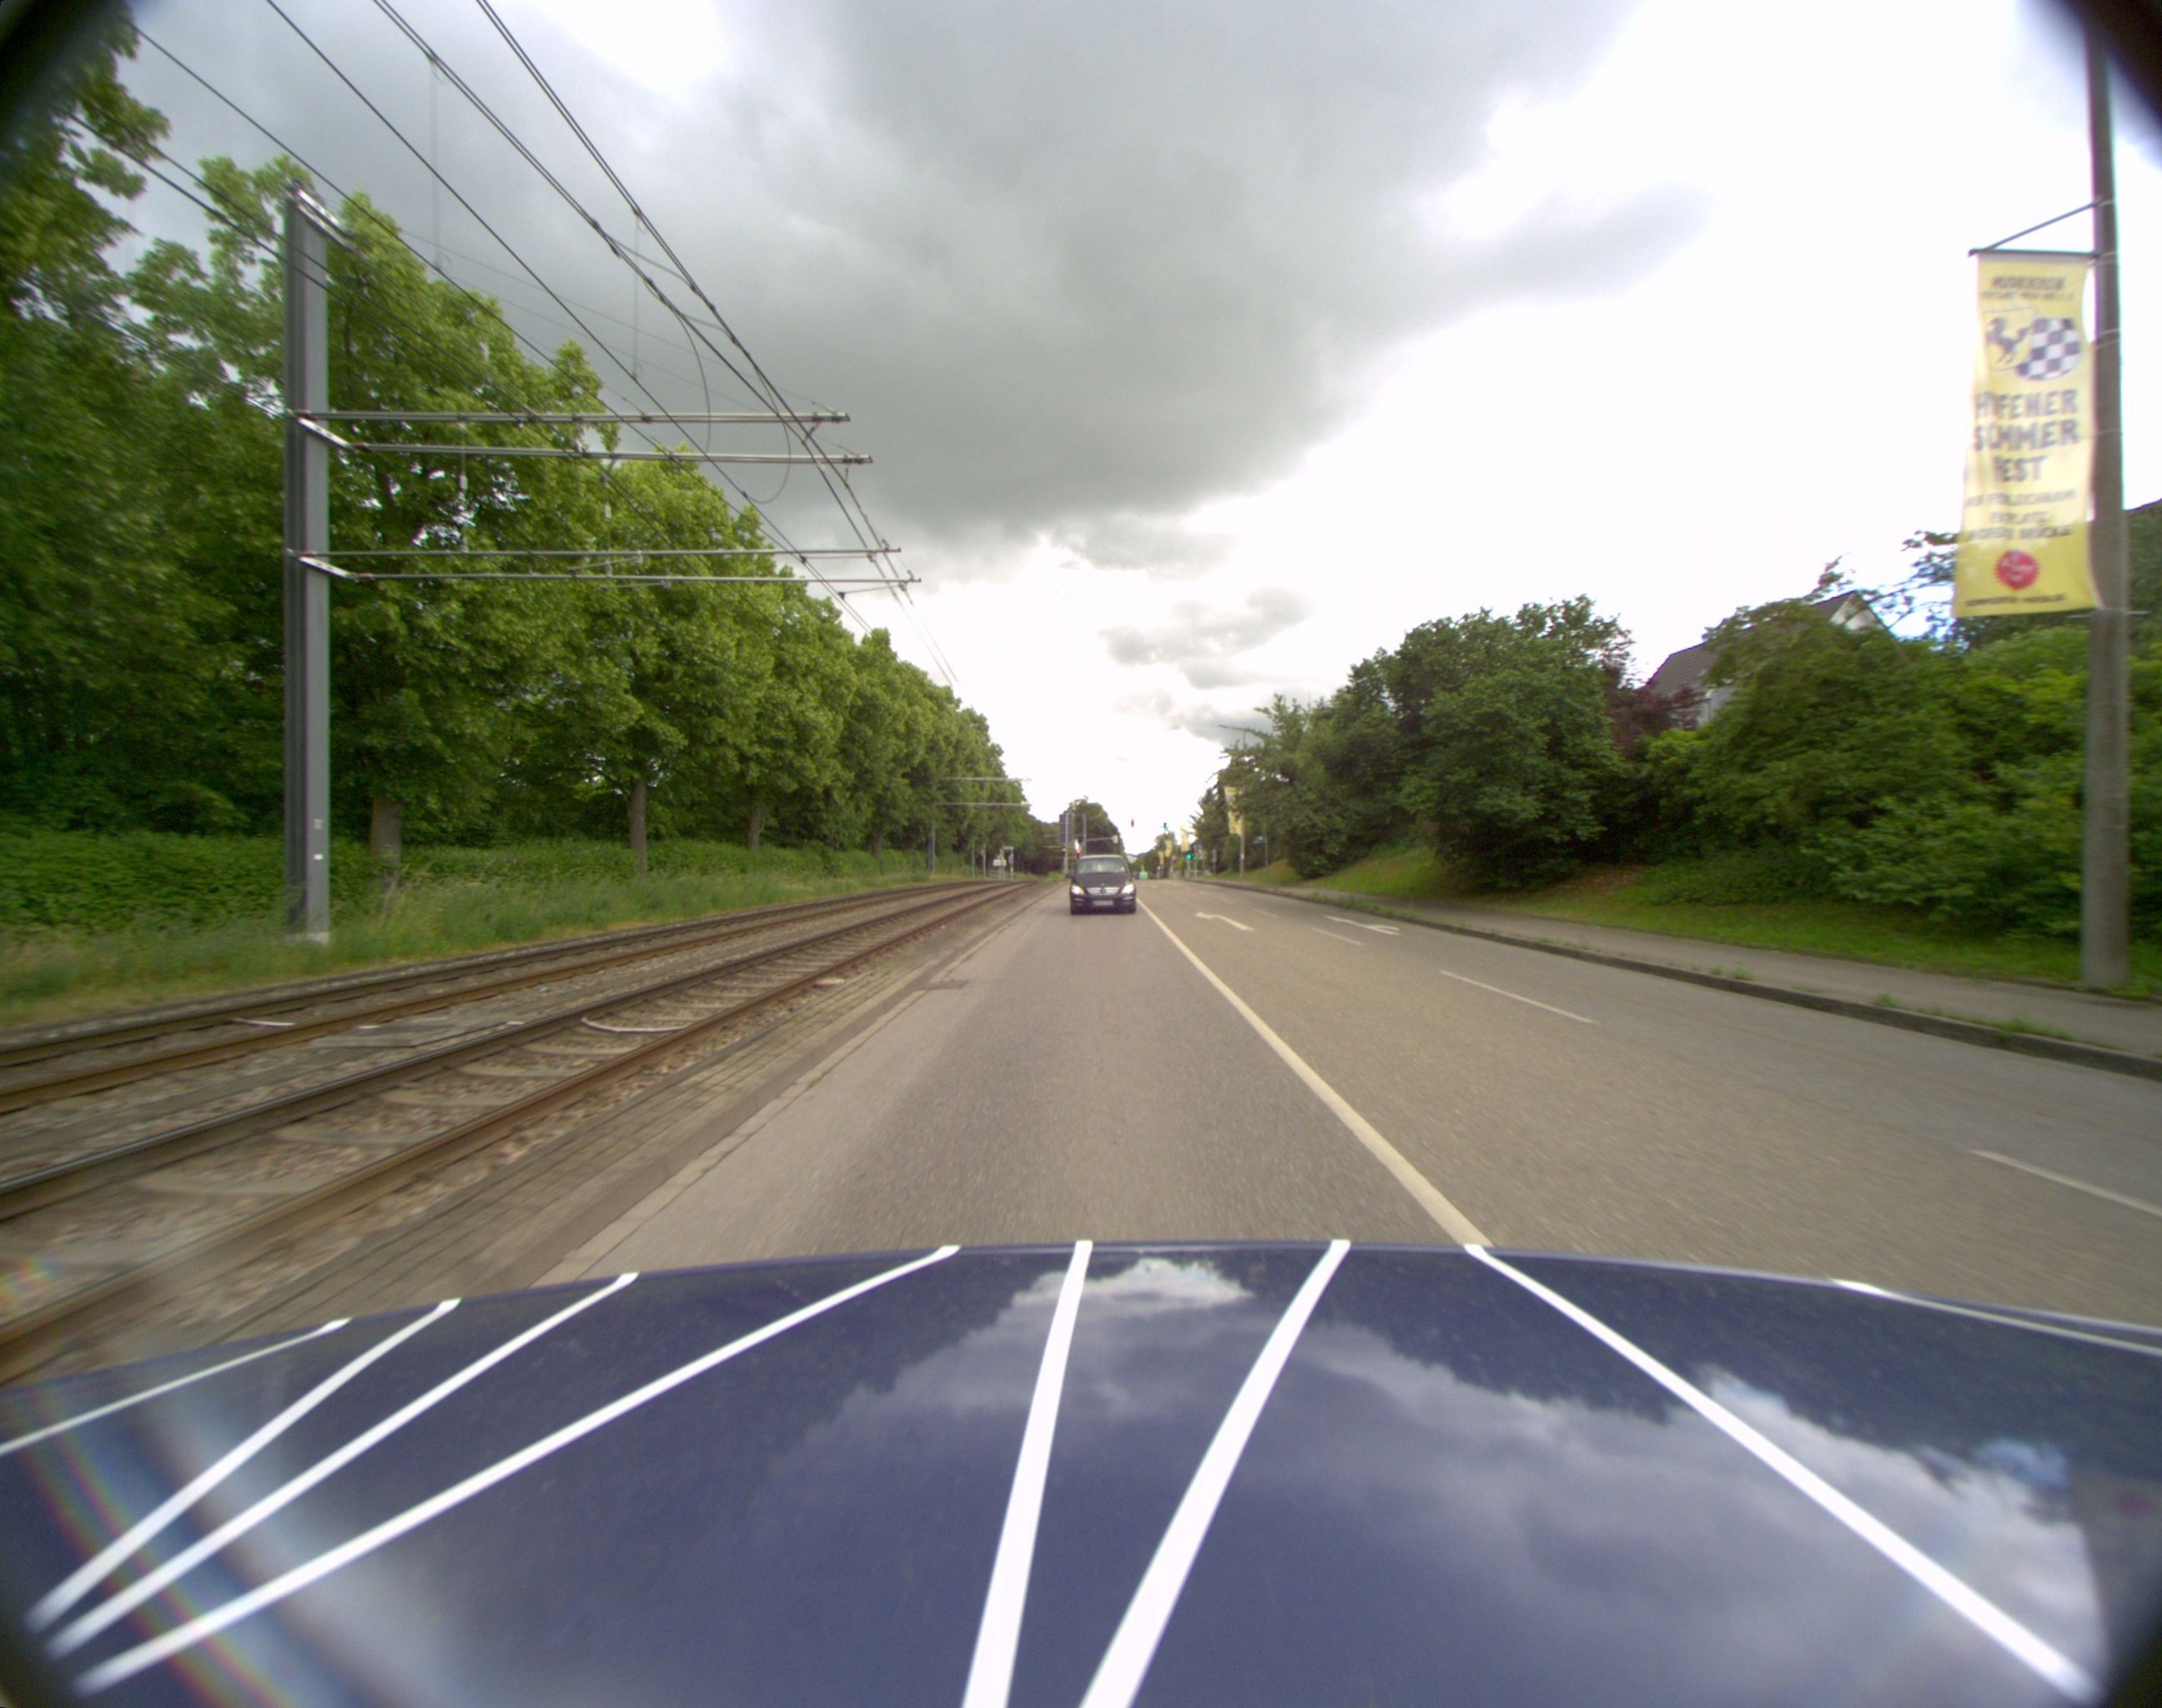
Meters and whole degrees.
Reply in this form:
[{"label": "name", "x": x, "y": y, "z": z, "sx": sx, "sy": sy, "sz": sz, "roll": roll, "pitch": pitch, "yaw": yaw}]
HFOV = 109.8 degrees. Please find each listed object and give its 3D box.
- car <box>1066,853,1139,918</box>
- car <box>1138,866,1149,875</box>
[{"label": "car", "x": 0.583, "y": 0.767, "z": 20.516, "sx": 1.749, "sy": 1.558, "sz": 4.122, "roll": -1, "pitch": 0, "yaw": 2}, {"label": "car", "x": 12.588, "y": 3.382, "z": 153.371, "sx": 2.063, "sy": 1.799, "sz": 4.731, "roll": 1, "pitch": -1, "yaw": 3}]
